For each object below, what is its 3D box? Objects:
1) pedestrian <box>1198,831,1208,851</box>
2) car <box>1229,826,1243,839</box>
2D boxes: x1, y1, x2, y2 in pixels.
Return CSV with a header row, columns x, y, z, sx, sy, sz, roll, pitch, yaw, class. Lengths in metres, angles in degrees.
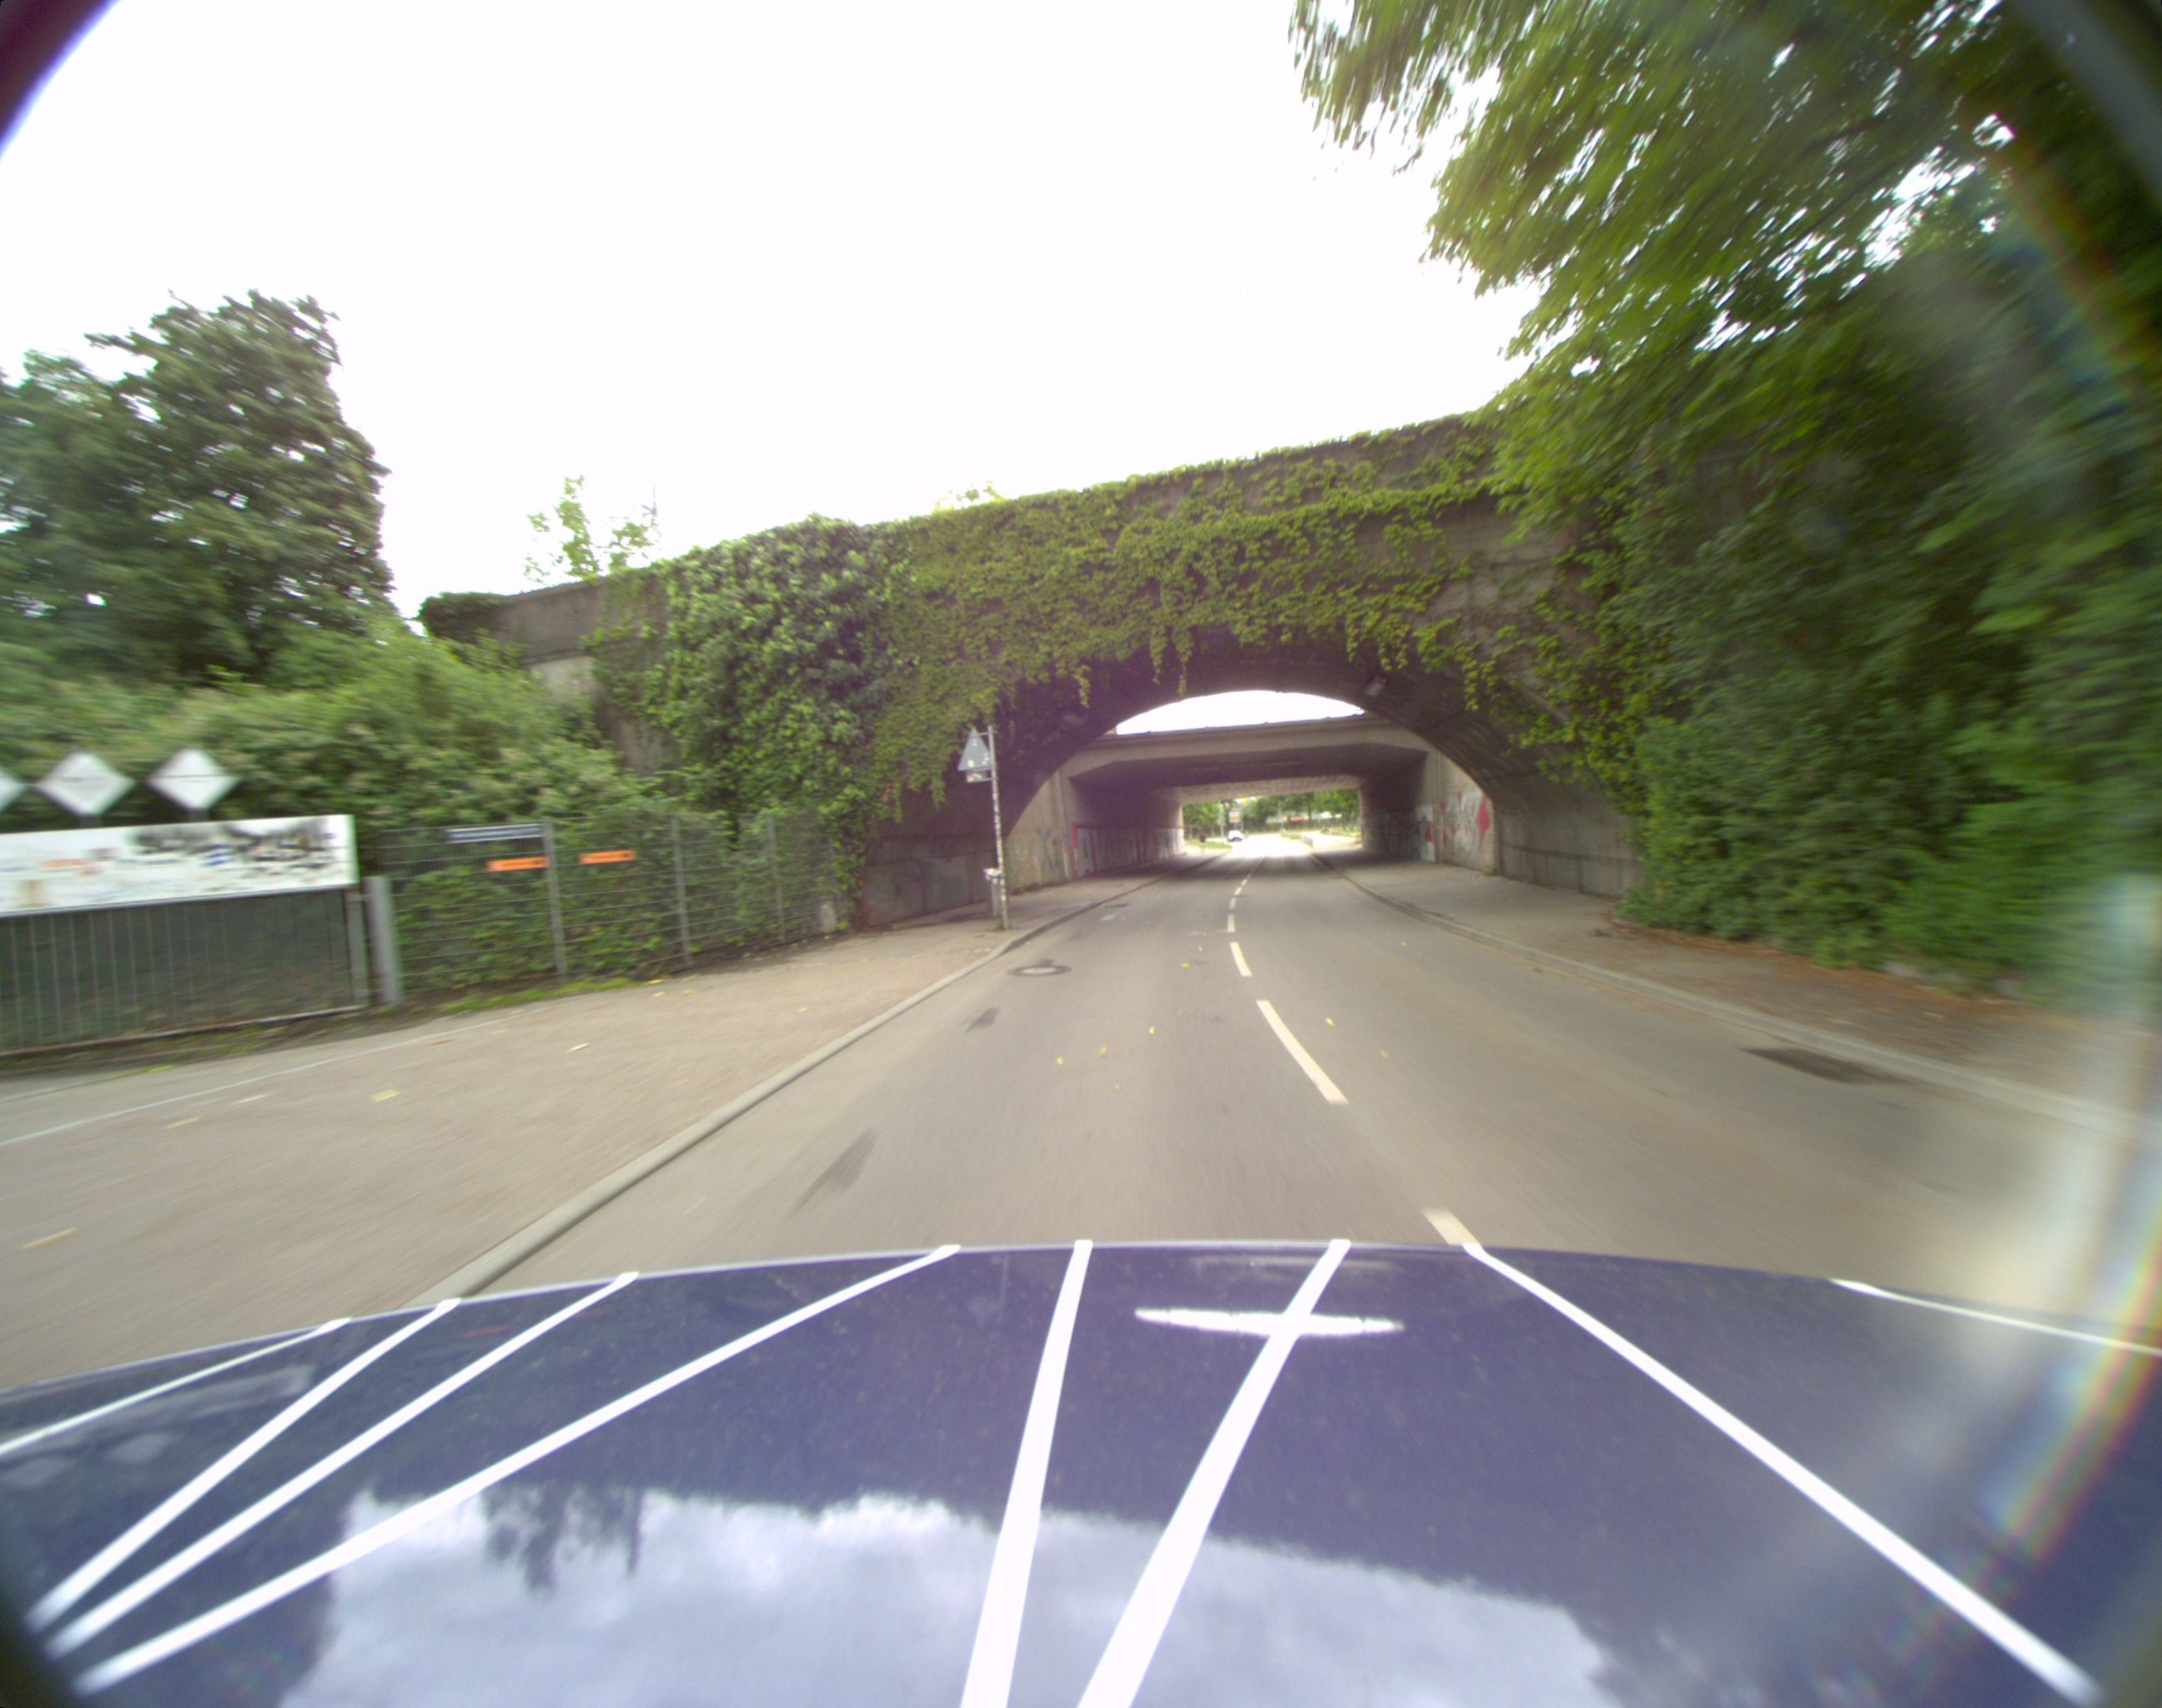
x,y,z,sx,sy,sz,roll,pitch,yaw,class
11.165,-1.203,69.574,0.821,1.869,1.181,-1,3,8,pedestrian
21.624,-2.993,106.310,1.805,1.602,4.177,-2,4,11,car
